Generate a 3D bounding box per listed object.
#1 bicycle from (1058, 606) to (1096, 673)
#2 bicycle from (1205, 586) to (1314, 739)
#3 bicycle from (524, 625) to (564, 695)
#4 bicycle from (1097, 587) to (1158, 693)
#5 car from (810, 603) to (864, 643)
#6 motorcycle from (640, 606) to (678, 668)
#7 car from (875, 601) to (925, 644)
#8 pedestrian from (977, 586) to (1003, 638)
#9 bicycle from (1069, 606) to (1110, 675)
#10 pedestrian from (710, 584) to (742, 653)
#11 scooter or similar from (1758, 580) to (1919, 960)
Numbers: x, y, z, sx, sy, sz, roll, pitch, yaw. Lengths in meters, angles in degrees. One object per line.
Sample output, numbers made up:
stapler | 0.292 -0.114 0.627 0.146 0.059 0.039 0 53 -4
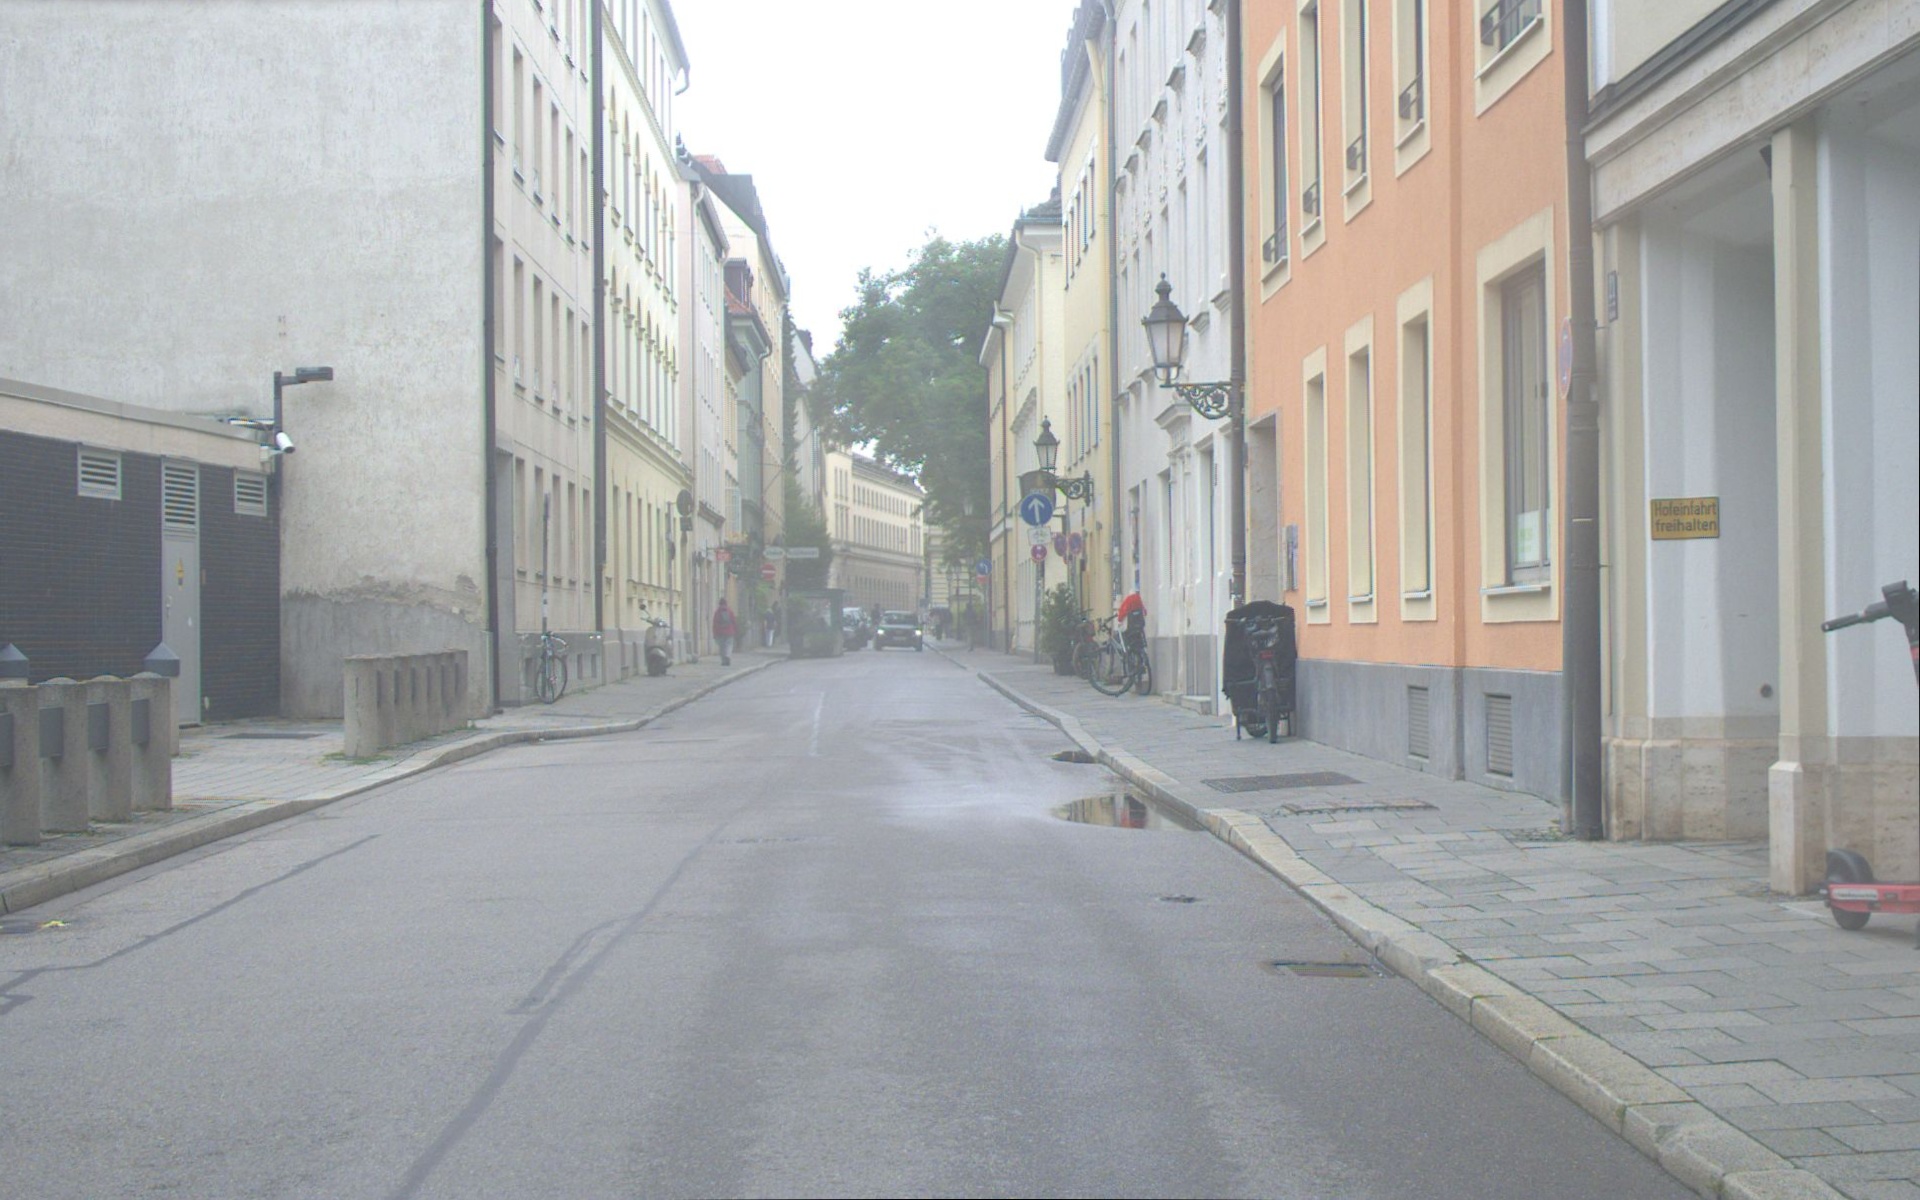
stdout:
bicycle | 2.047 0.689 60.334 0.565 1.133 1.684 -3 0 0
bicycle | 2.626 0.528 30.348 0.679 1.236 2.382 -5 0 1
bicycle | -5.816 0.833 48.094 0.320 0.940 1.574 2 0 1
bicycle | 2.297 0.535 47.291 0.713 1.391 2.121 -3 0 1
car | -4.649 0.857 130.189 1.779 1.461 3.662 1 0 2
motorcycle | -5.806 0.711 66.358 0.602 1.170 1.708 0 0 -1
car | -2.323 0.847 131.339 1.812 1.588 4.000 0 0 -2
pedestrian | 1.067 0.429 120.964 0.880 1.796 1.046 1 0 0
bicycle | 2.184 0.674 58.267 0.565 1.133 1.987 -3 0 0
pedestrian | -5.843 0.457 85.744 0.765 1.702 0.785 -1 0 -3
scooter or similar | 3.334 0.573 12.028 0.464 1.254 1.277 -3 1 -15
